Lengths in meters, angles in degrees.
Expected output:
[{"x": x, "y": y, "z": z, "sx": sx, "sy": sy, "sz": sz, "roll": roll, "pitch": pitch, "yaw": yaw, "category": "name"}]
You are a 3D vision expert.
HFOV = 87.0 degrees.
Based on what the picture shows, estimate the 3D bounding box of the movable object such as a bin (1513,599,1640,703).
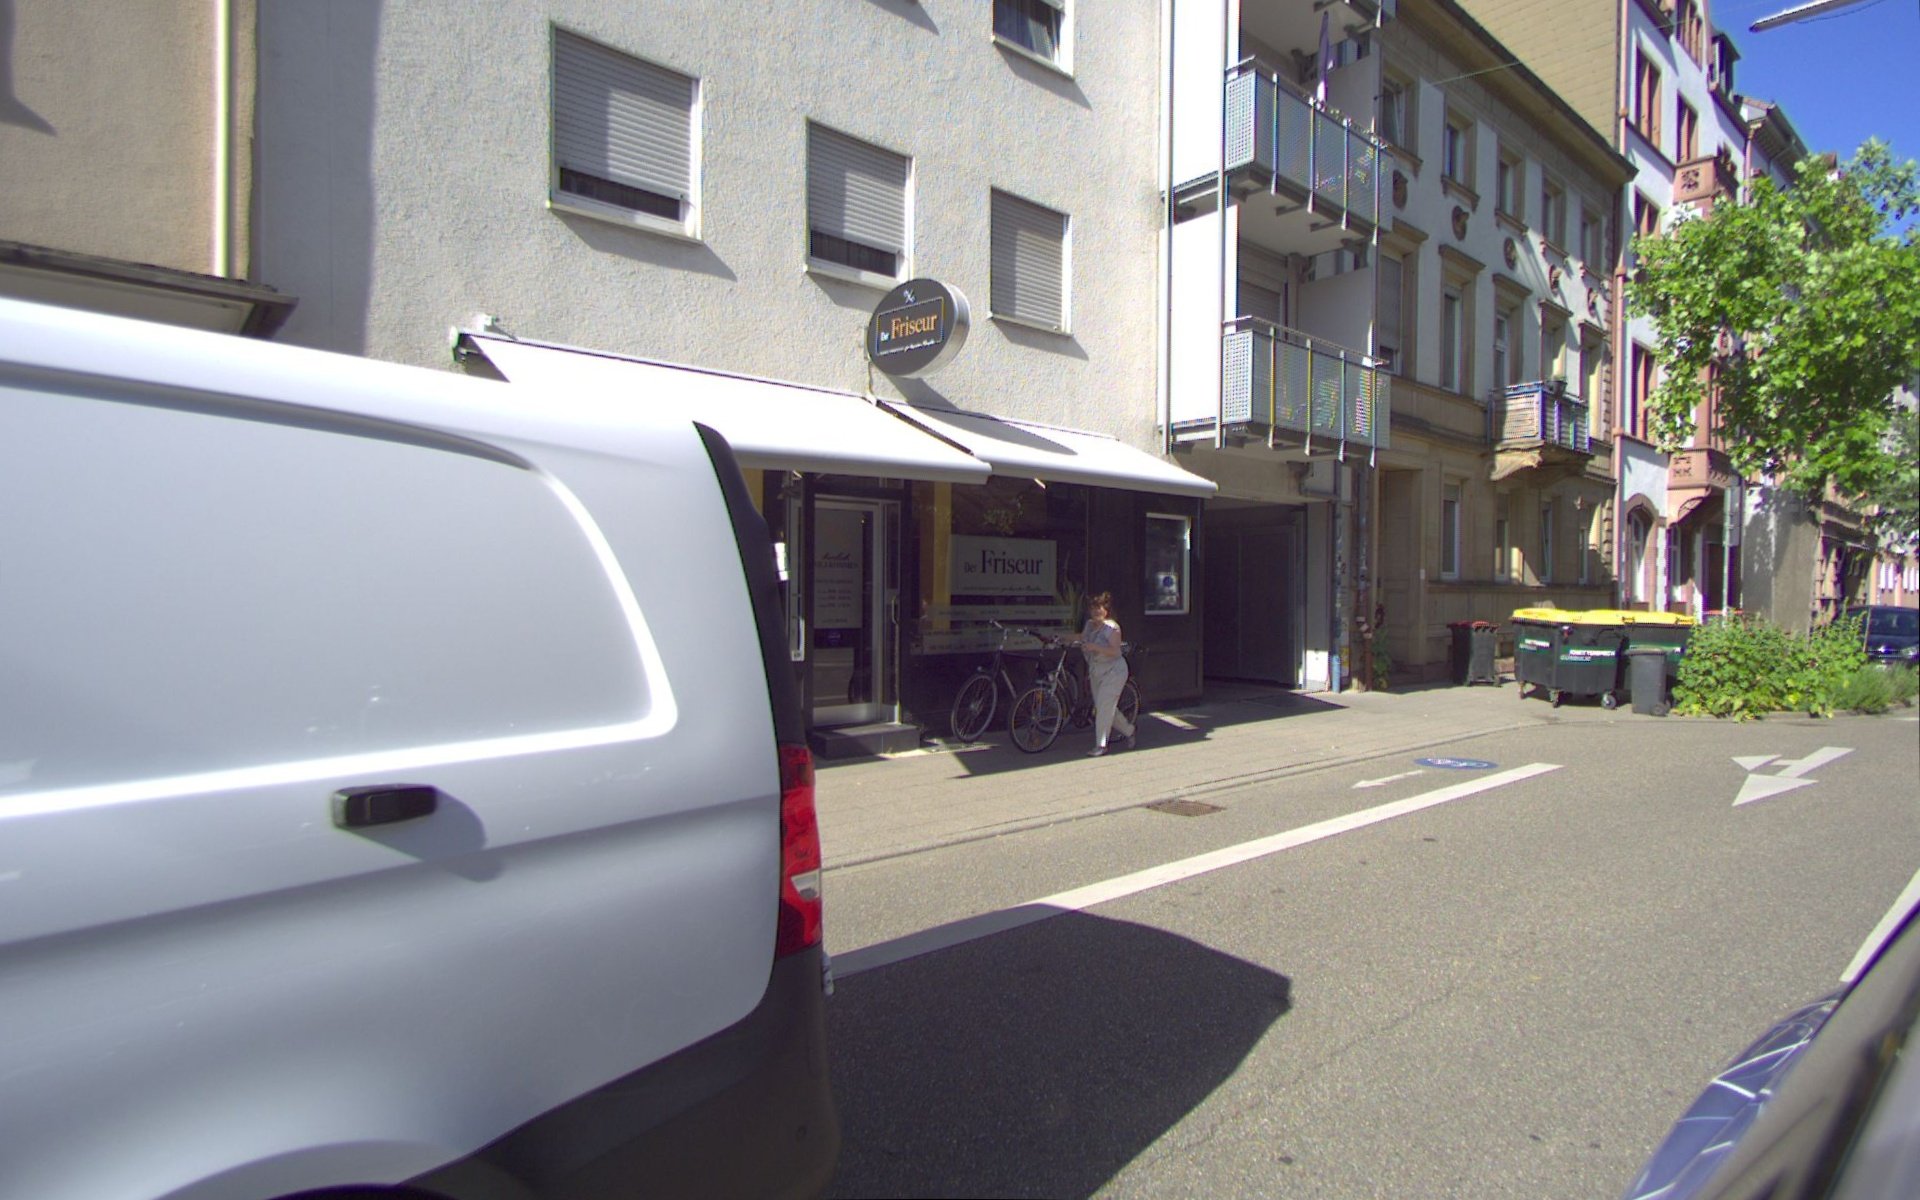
[{"x": 8.843, "y": 0.705, "z": 14.584, "sx": 1.030, "sy": 1.341, "sz": 1.216, "roll": 1, "pitch": 3, "yaw": 1, "category": "movable object such as a bin"}]

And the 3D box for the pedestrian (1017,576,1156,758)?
[{"x": 1.188, "y": 0.582, "z": 9.521, "sx": 0.930, "sy": 1.556, "sz": 0.825, "roll": 0, "pitch": 4, "yaw": -41, "category": "pedestrian"}]

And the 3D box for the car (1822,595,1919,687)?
[{"x": 16.838, "y": 0.680, "z": 18.220, "sx": 3.293, "sy": 1.510, "sz": 1.550, "roll": 0, "pitch": 1, "yaw": -41, "category": "car"}]

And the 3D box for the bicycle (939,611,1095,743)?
[{"x": 0.604, "y": 0.722, "z": 10.110, "sx": 1.760, "sy": 1.193, "sz": 0.402, "roll": 0, "pitch": 0, "yaw": -41, "category": "bicycle"}]

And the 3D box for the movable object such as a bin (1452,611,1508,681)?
[{"x": 8.533, "y": 0.745, "z": 16.630, "sx": 0.557, "sy": 1.094, "sz": 0.617, "roll": 1, "pitch": 3, "yaw": 1, "category": "movable object such as a bin"}]

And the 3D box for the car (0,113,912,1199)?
[{"x": -2.503, "y": 0.439, "z": 0.878, "sx": 4.912, "sy": 1.892, "sz": 1.838, "roll": 0, "pitch": 1, "yaw": -43, "category": "car"}]

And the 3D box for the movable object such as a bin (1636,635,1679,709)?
[{"x": 9.572, "y": 0.976, "z": 13.893, "sx": 0.399, "sy": 0.933, "sz": 0.478, "roll": 3, "pitch": 3, "yaw": 41, "category": "movable object such as a bin"}]

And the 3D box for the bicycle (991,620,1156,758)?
[{"x": 1.103, "y": 0.791, "z": 9.552, "sx": 1.760, "sy": 1.146, "sz": 0.402, "roll": 0, "pitch": 4, "yaw": -41, "category": "bicycle"}]

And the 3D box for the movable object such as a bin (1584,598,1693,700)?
[{"x": 9.959, "y": 0.690, "z": 14.907, "sx": 0.943, "sy": 1.365, "sz": 1.066, "roll": 1, "pitch": 3, "yaw": 11, "category": "movable object such as a bin"}]
